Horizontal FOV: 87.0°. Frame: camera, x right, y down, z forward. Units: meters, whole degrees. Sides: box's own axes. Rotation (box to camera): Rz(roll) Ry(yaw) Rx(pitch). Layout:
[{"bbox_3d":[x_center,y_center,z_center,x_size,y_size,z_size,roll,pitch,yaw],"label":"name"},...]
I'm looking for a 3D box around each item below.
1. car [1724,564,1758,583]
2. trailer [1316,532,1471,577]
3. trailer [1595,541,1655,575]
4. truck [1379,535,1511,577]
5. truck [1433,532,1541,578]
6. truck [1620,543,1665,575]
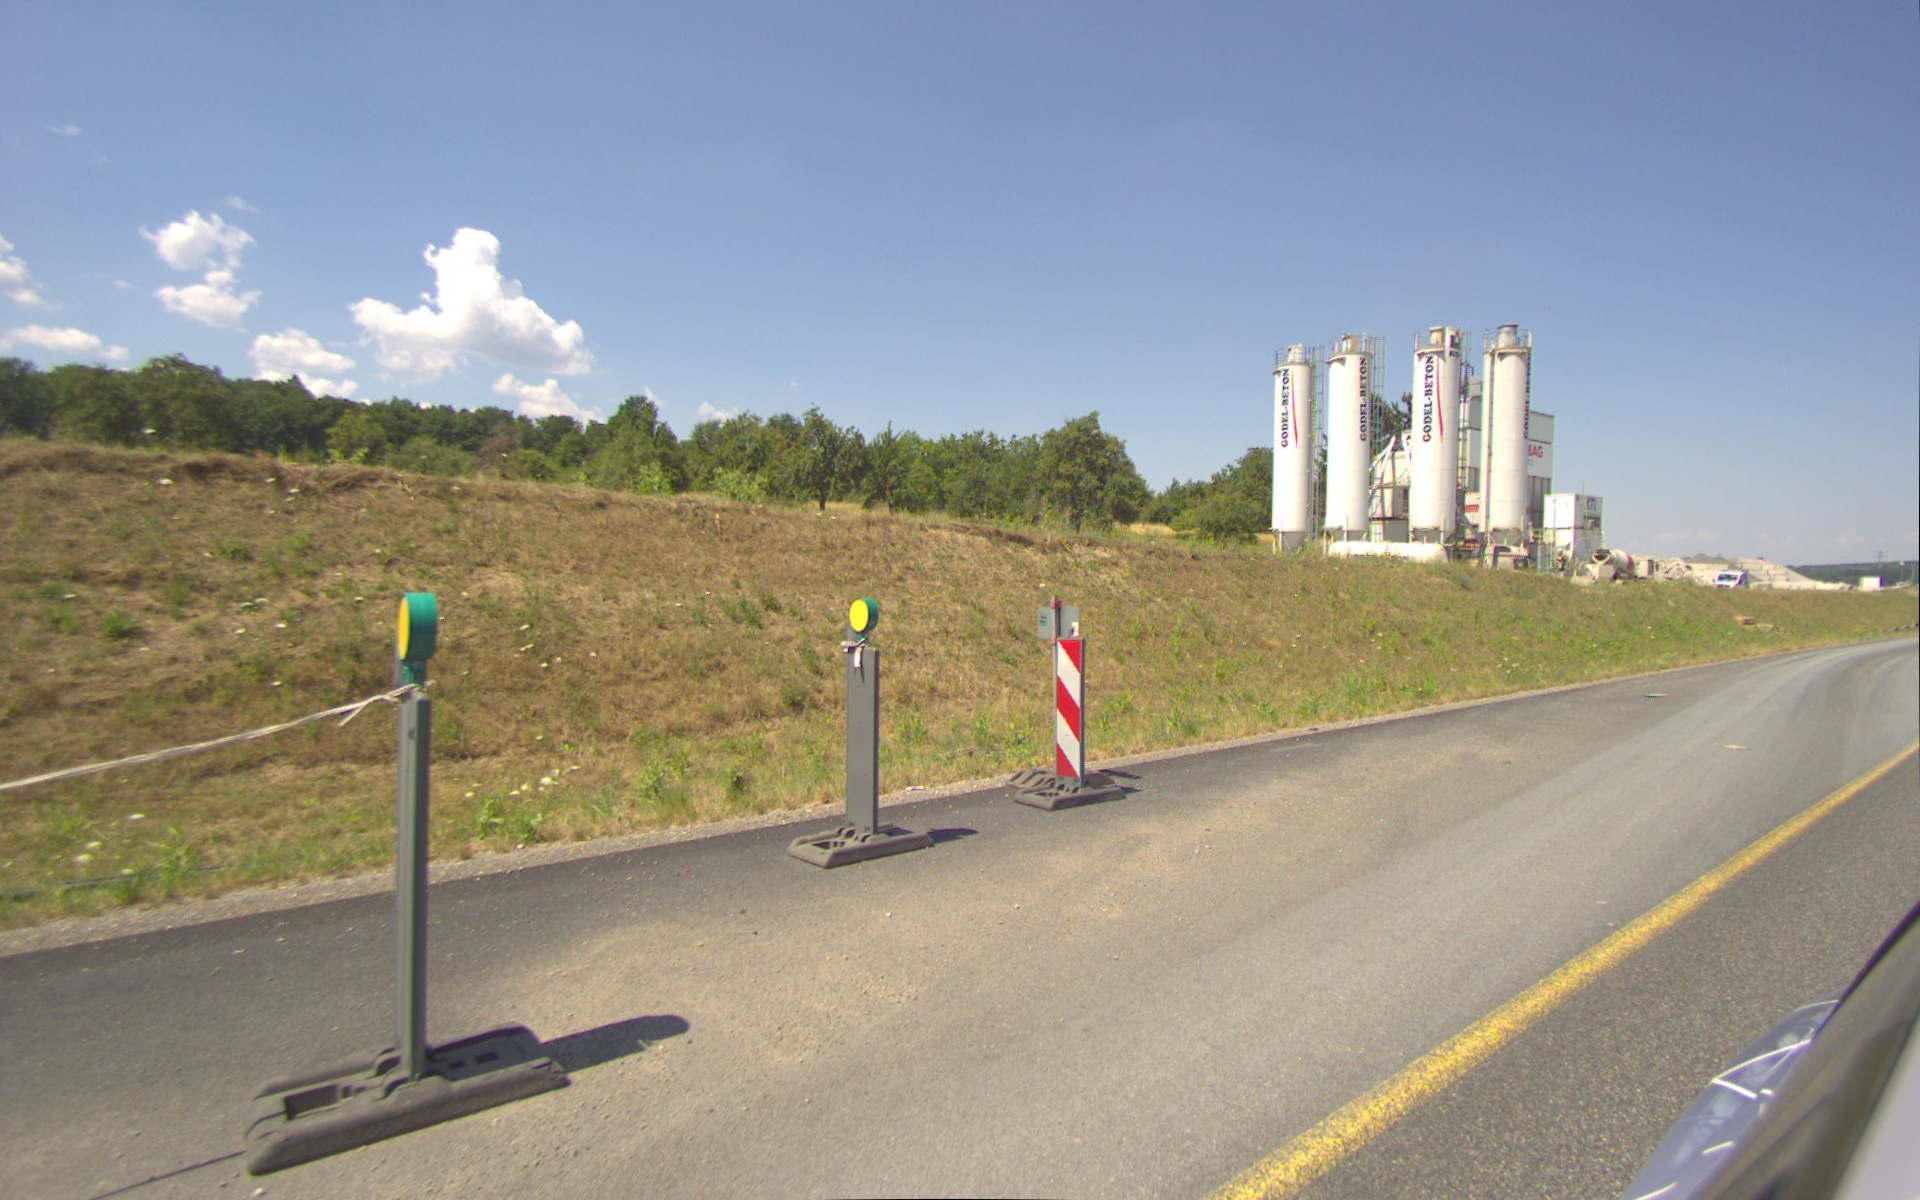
[{"bbox_3d":[75.278,-2.524,97.534,3.539,1.785,1.989,0,0,-41],"label":"car"},{"bbox_3d":[27.390,-2.829,64.376,2.423,2.639,8.905,0,1,-43],"label":"trailer"},{"bbox_3d":[55.293,-3.429,84.072,6.808,2.678,1.999,0,0,-37],"label":"trailer"},{"bbox_3d":[36.594,-3.244,76.796,2.412,2.904,9.104,0,0,-34],"label":"truck"},{"bbox_3d":[31.836,-2.692,61.376,5.229,2.576,2.893,0,0,14],"label":"truck"},{"bbox_3d":[58.209,-3.446,86.330,3.966,2.577,2.022,0,0,-37],"label":"truck"}]
